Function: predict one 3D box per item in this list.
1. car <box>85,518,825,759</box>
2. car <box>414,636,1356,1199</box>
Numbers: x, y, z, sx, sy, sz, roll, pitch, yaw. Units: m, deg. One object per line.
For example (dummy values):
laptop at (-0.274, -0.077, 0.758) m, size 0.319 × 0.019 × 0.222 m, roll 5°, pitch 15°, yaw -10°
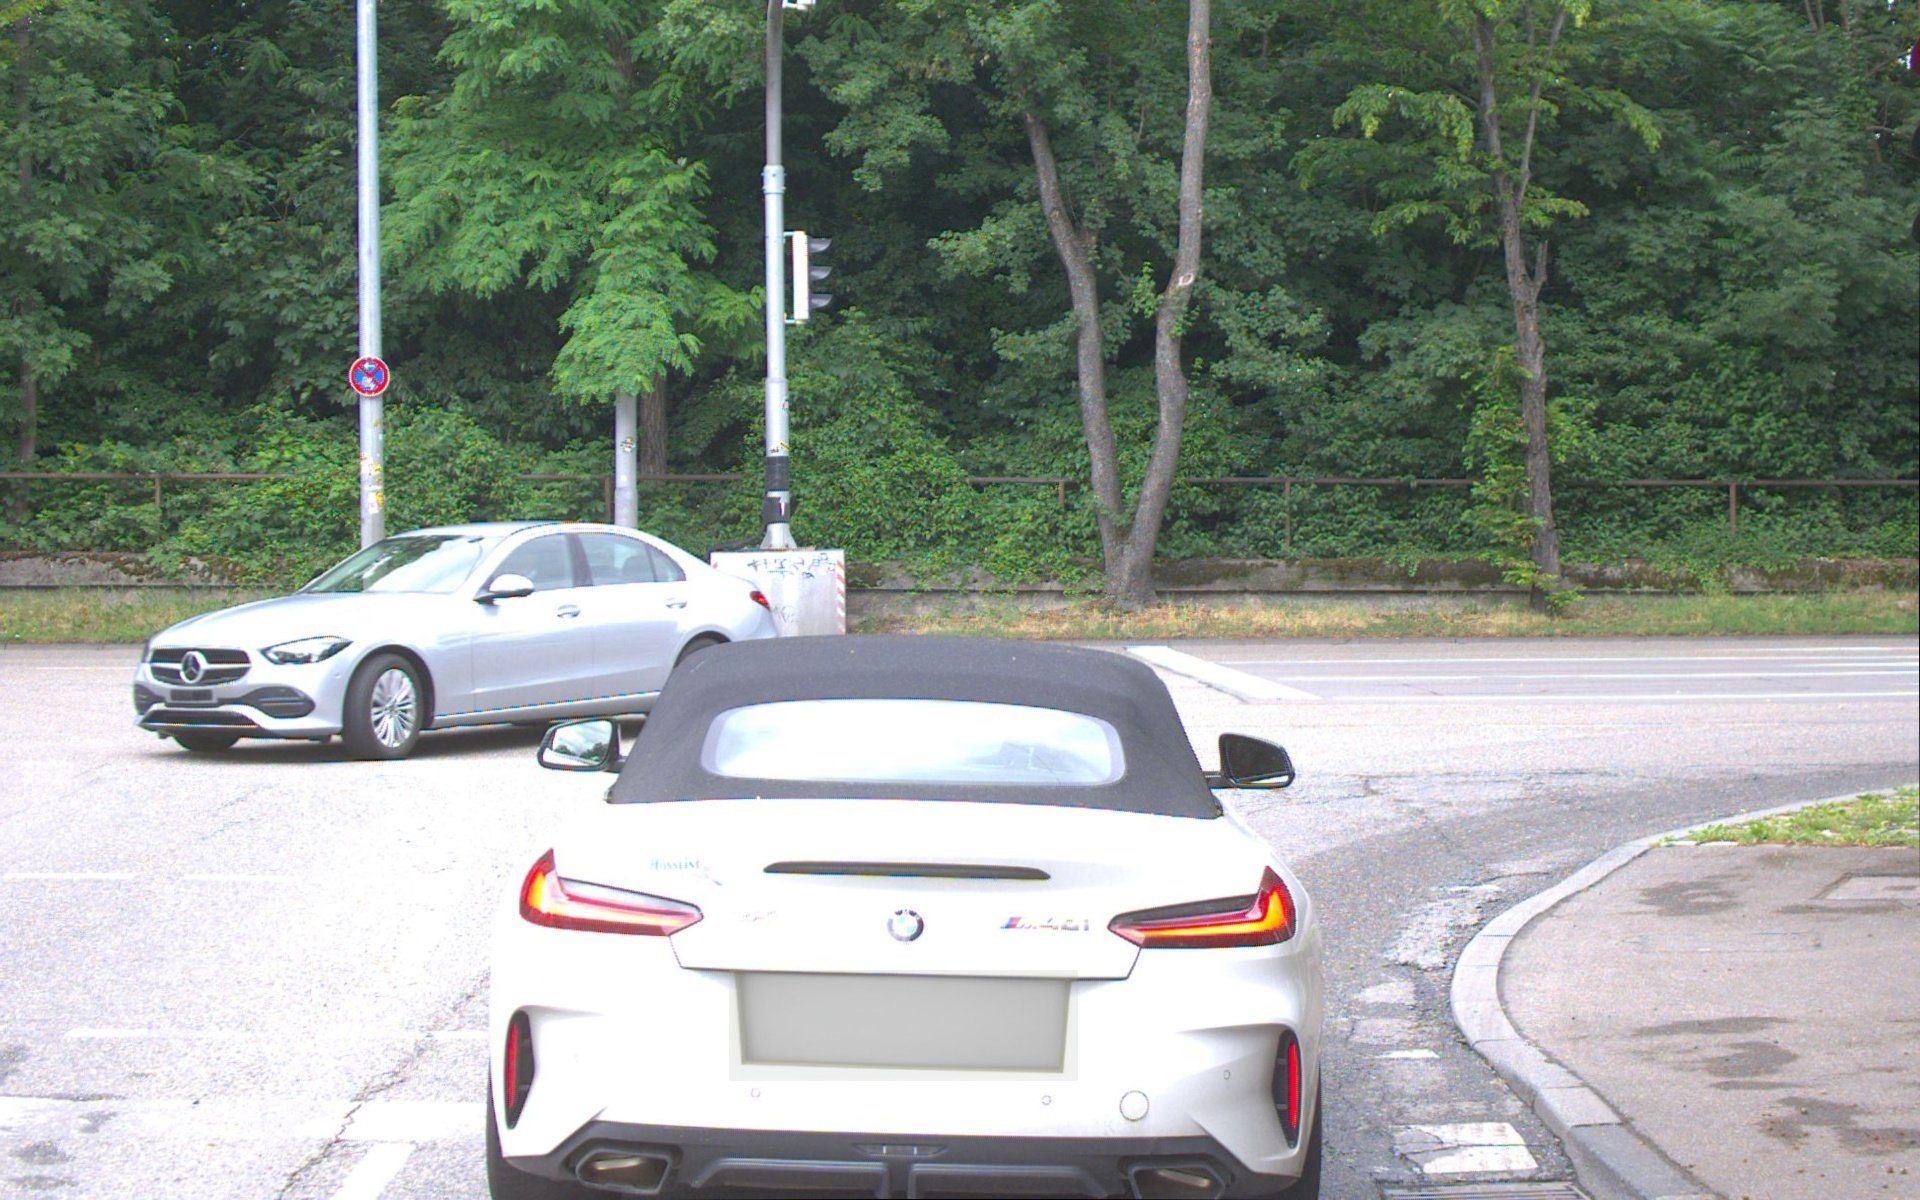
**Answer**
car at (-3.162, 0.167, 22.423) m, size 1.832 × 1.329 × 4.756 m, roll 2°, pitch 3°, yaw 40°
car at (-0.190, 0.765, 8.757) m, size 1.827 × 1.253 × 4.000 m, roll 1°, pitch -1°, yaw -1°
